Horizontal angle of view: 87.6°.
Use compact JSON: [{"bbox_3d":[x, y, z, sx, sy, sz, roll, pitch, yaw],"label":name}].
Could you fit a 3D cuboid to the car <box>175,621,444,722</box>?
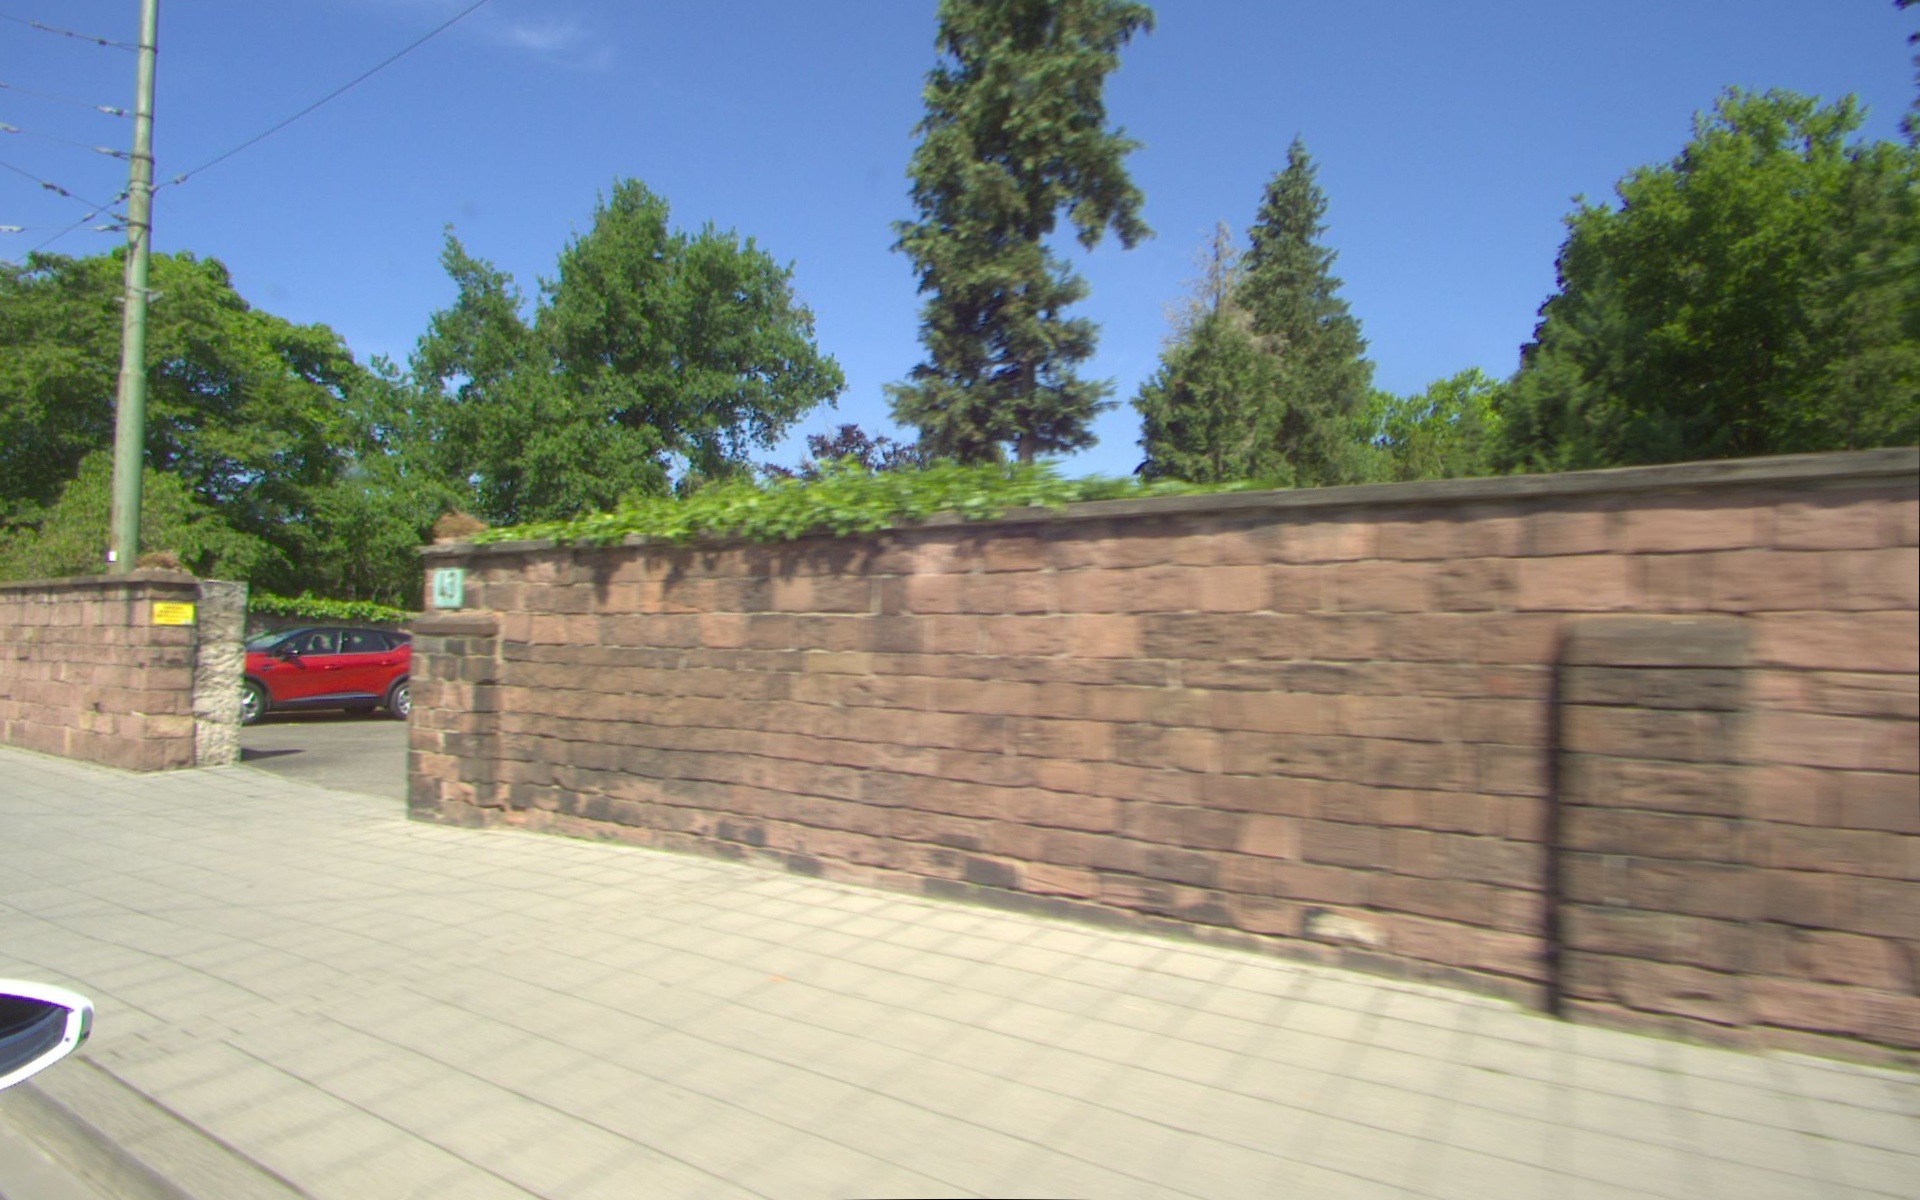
[{"bbox_3d":[-10.694,1.173,16.683,1.502,1.482,3.405,0,-4,31],"label":"car"}]
